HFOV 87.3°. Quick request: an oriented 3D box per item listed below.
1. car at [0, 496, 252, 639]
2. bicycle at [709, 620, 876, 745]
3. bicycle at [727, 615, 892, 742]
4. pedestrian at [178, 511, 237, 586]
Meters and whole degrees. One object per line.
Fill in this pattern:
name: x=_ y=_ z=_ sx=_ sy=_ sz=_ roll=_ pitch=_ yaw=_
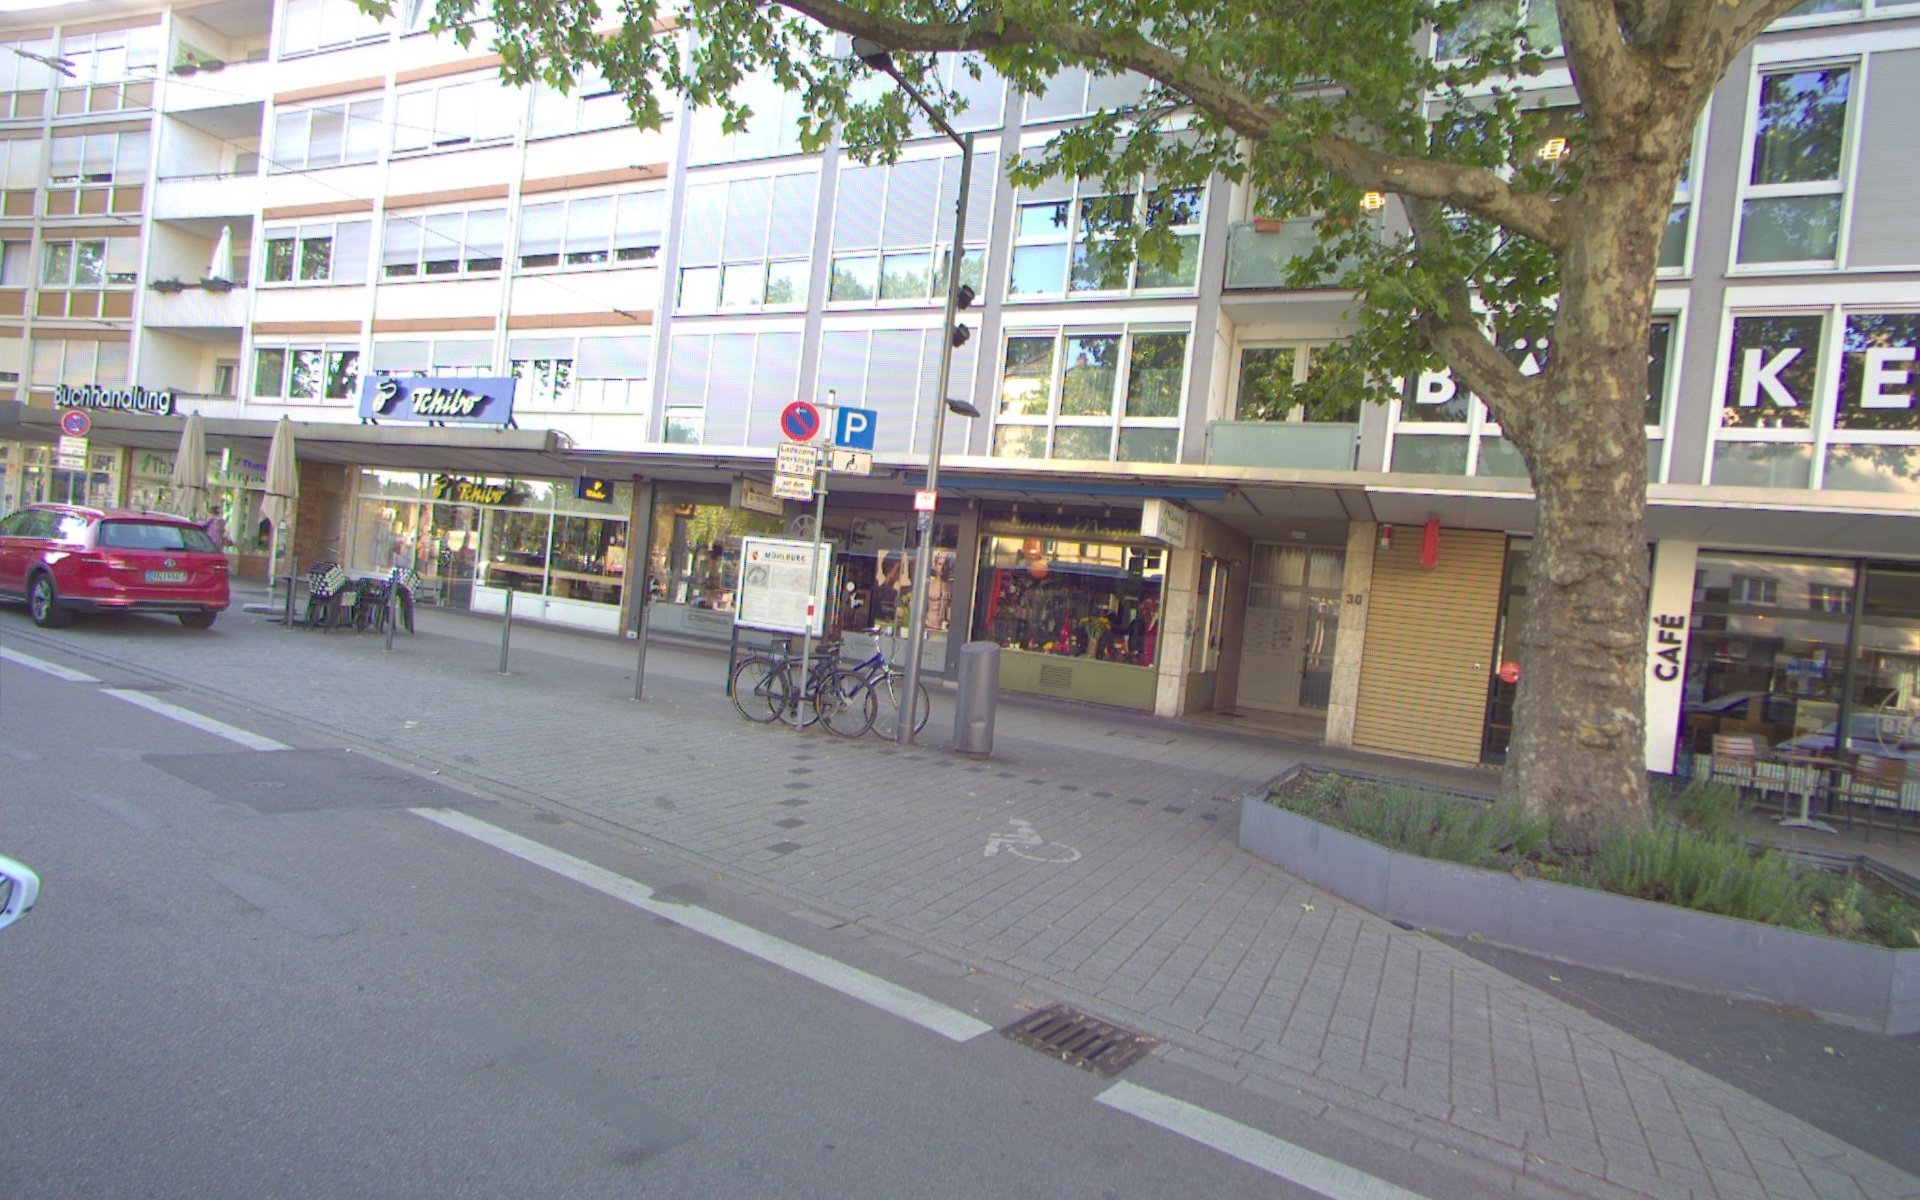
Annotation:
car: x=-11.749 y=-0.504 z=13.498 sx=4.488 sy=1.516 sz=1.780 roll=6 pitch=2 yaw=28
bicycle: x=-1.746 y=0.836 z=10.417 sx=1.686 sy=1.055 sz=0.294 roll=6 pitch=4 yaw=17
bicycle: x=-1.608 y=0.809 z=10.671 sx=1.686 sy=1.117 sz=0.294 roll=6 pitch=4 yaw=17
pedestrian: x=-16.970 y=-1.149 z=22.692 sx=0.793 sy=1.571 sz=0.641 roll=7 pitch=1 yaw=24
